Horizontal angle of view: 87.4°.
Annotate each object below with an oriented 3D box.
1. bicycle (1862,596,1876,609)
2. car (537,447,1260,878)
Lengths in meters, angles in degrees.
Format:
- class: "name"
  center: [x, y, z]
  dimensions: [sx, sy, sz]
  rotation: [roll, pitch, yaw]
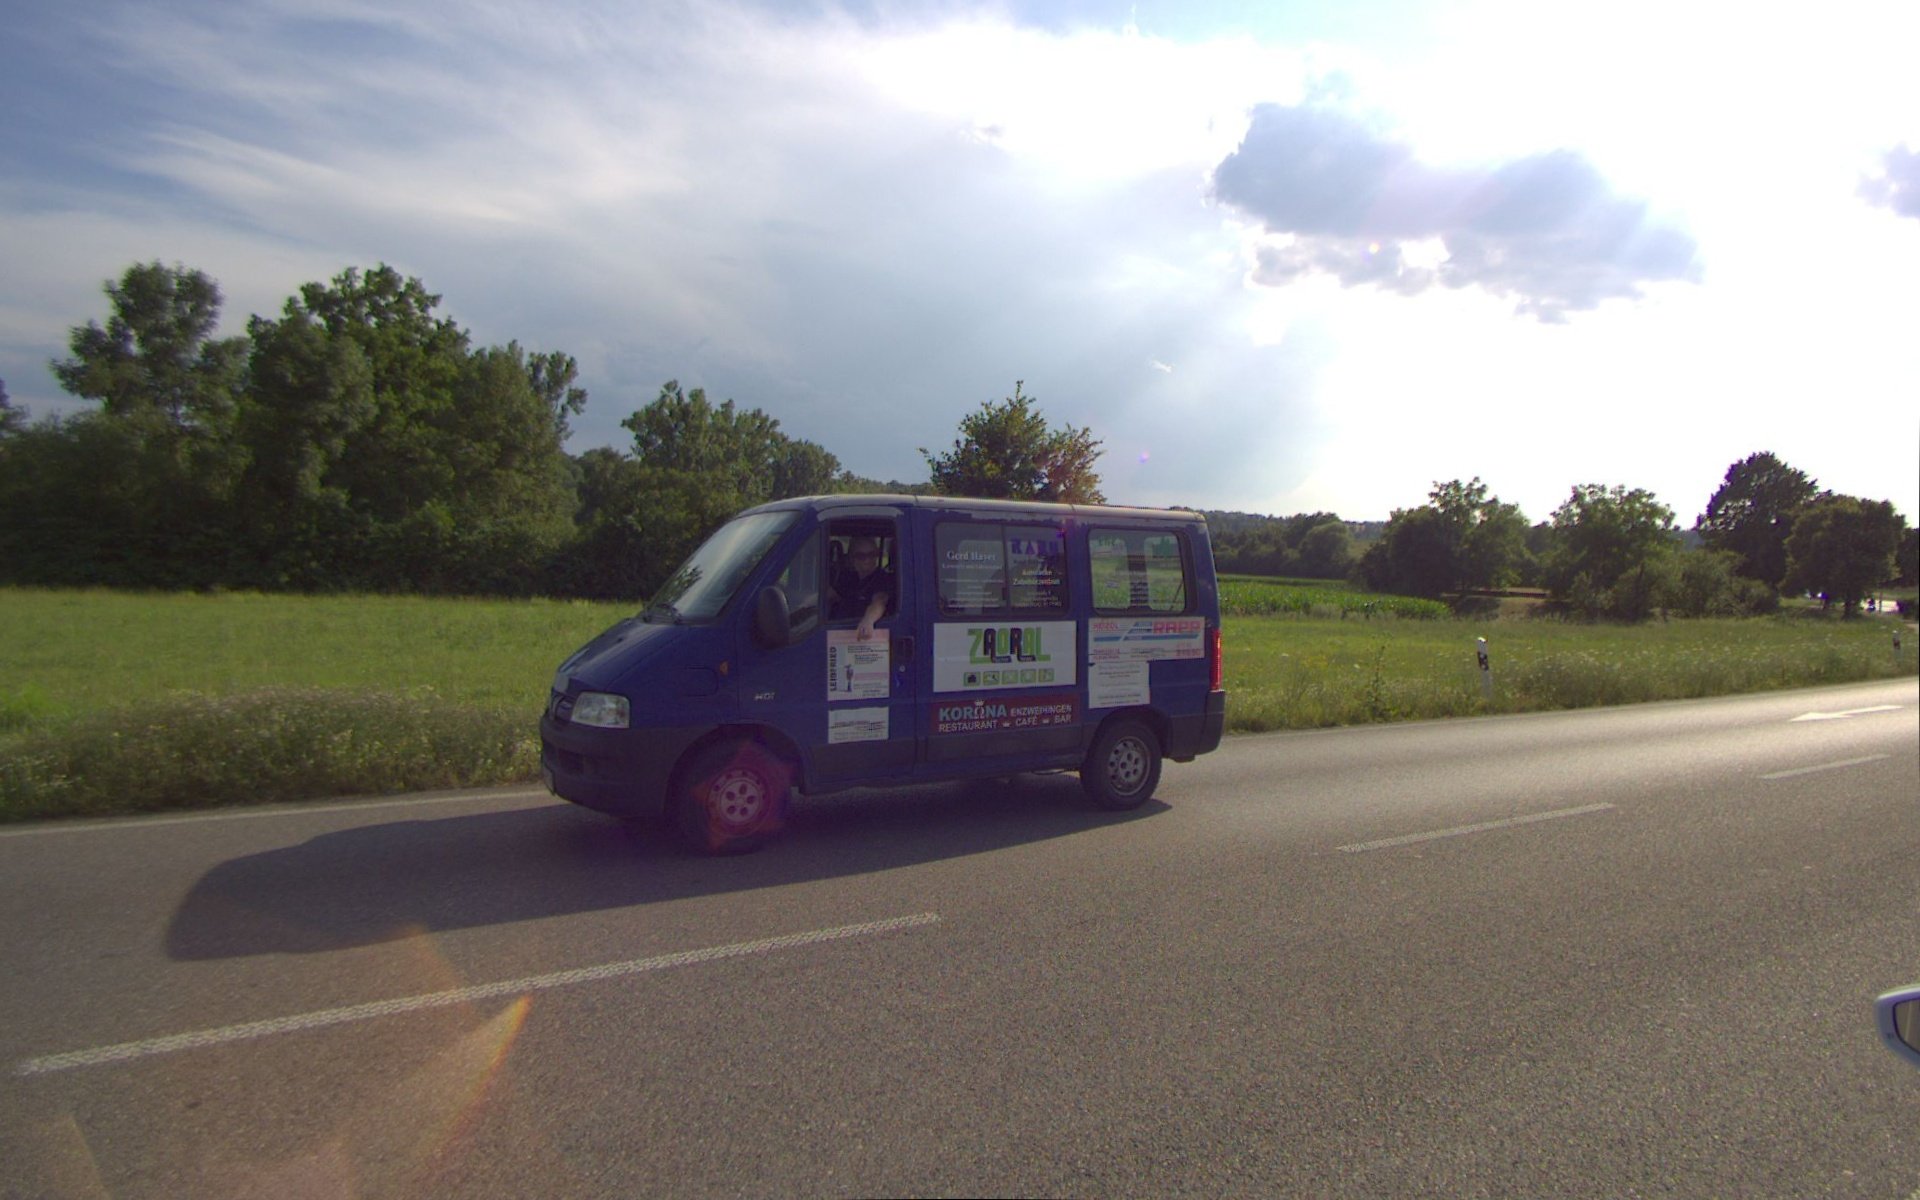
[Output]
- class: "bicycle"
  center: [83.743, 0.245, 92.549]
  dimensions: [1.656, 1.089, 0.630]
  rotation: [1, 2, -39]
- class: "car"
  center: [-0.307, 0.343, 7.125]
  dimensions: [4.724, 2.165, 1.988]
  rotation: [1, 1, -31]
